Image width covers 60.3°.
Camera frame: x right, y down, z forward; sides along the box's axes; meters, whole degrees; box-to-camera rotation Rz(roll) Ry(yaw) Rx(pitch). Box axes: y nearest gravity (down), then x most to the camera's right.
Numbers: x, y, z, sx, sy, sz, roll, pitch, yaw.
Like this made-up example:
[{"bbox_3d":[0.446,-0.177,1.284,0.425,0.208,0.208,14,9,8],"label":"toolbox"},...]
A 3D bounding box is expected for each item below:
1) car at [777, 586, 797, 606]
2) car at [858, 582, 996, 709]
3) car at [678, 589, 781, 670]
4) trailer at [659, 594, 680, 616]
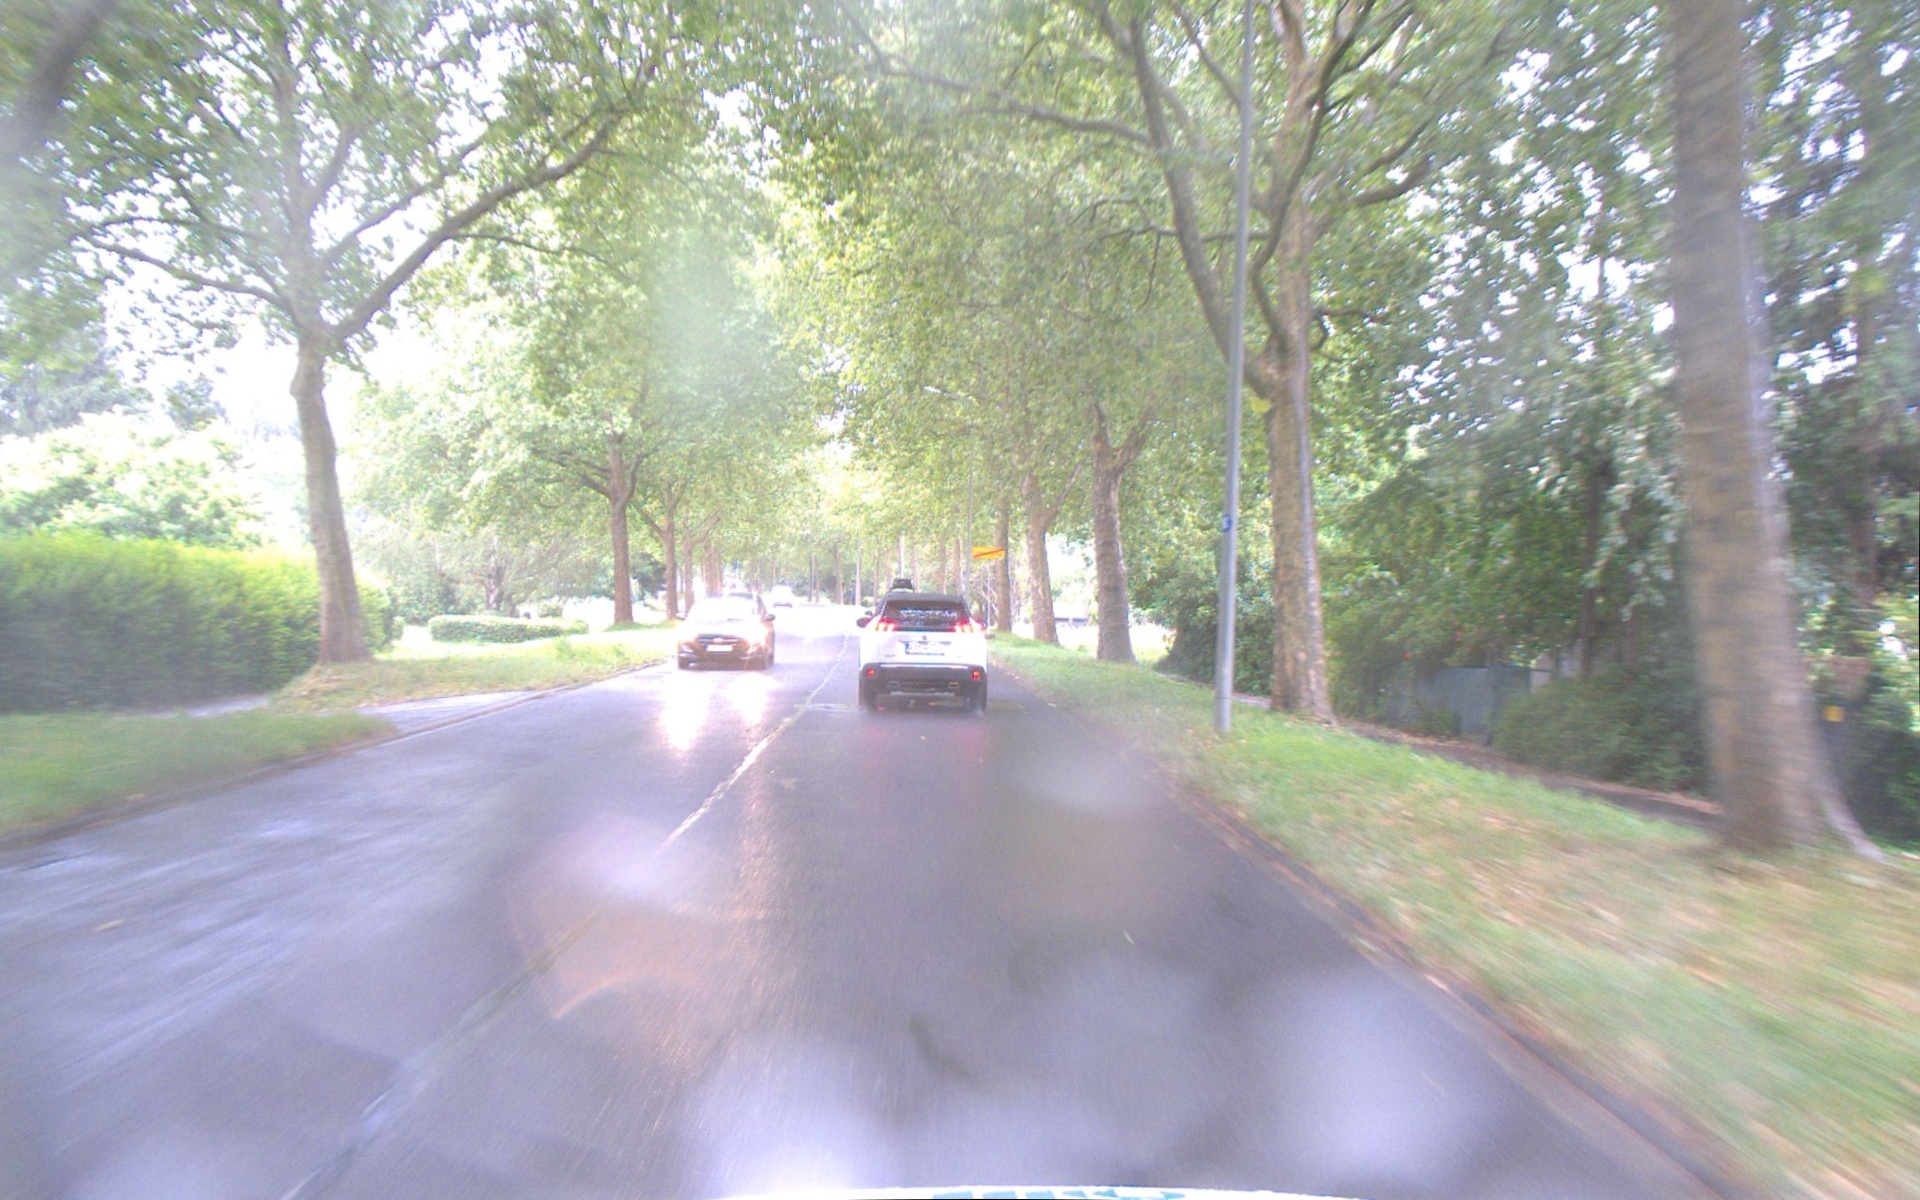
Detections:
[{"bbox_3d":[-16.526,-0.363,158.103,1.826,1.780,5.010,2,0,-5],"label":"car"},{"bbox_3d":[-0.471,0.580,23.431,1.757,1.606,3.843,2,0,-1],"label":"car"},{"bbox_3d":[-4.695,0.573,34.160,1.809,1.528,3.996,2,0,-5],"label":"car"},{"bbox_3d":[-34.601,0.590,196.921,2.440,2.612,5.319,2,0,-10],"label":"trailer"}]
